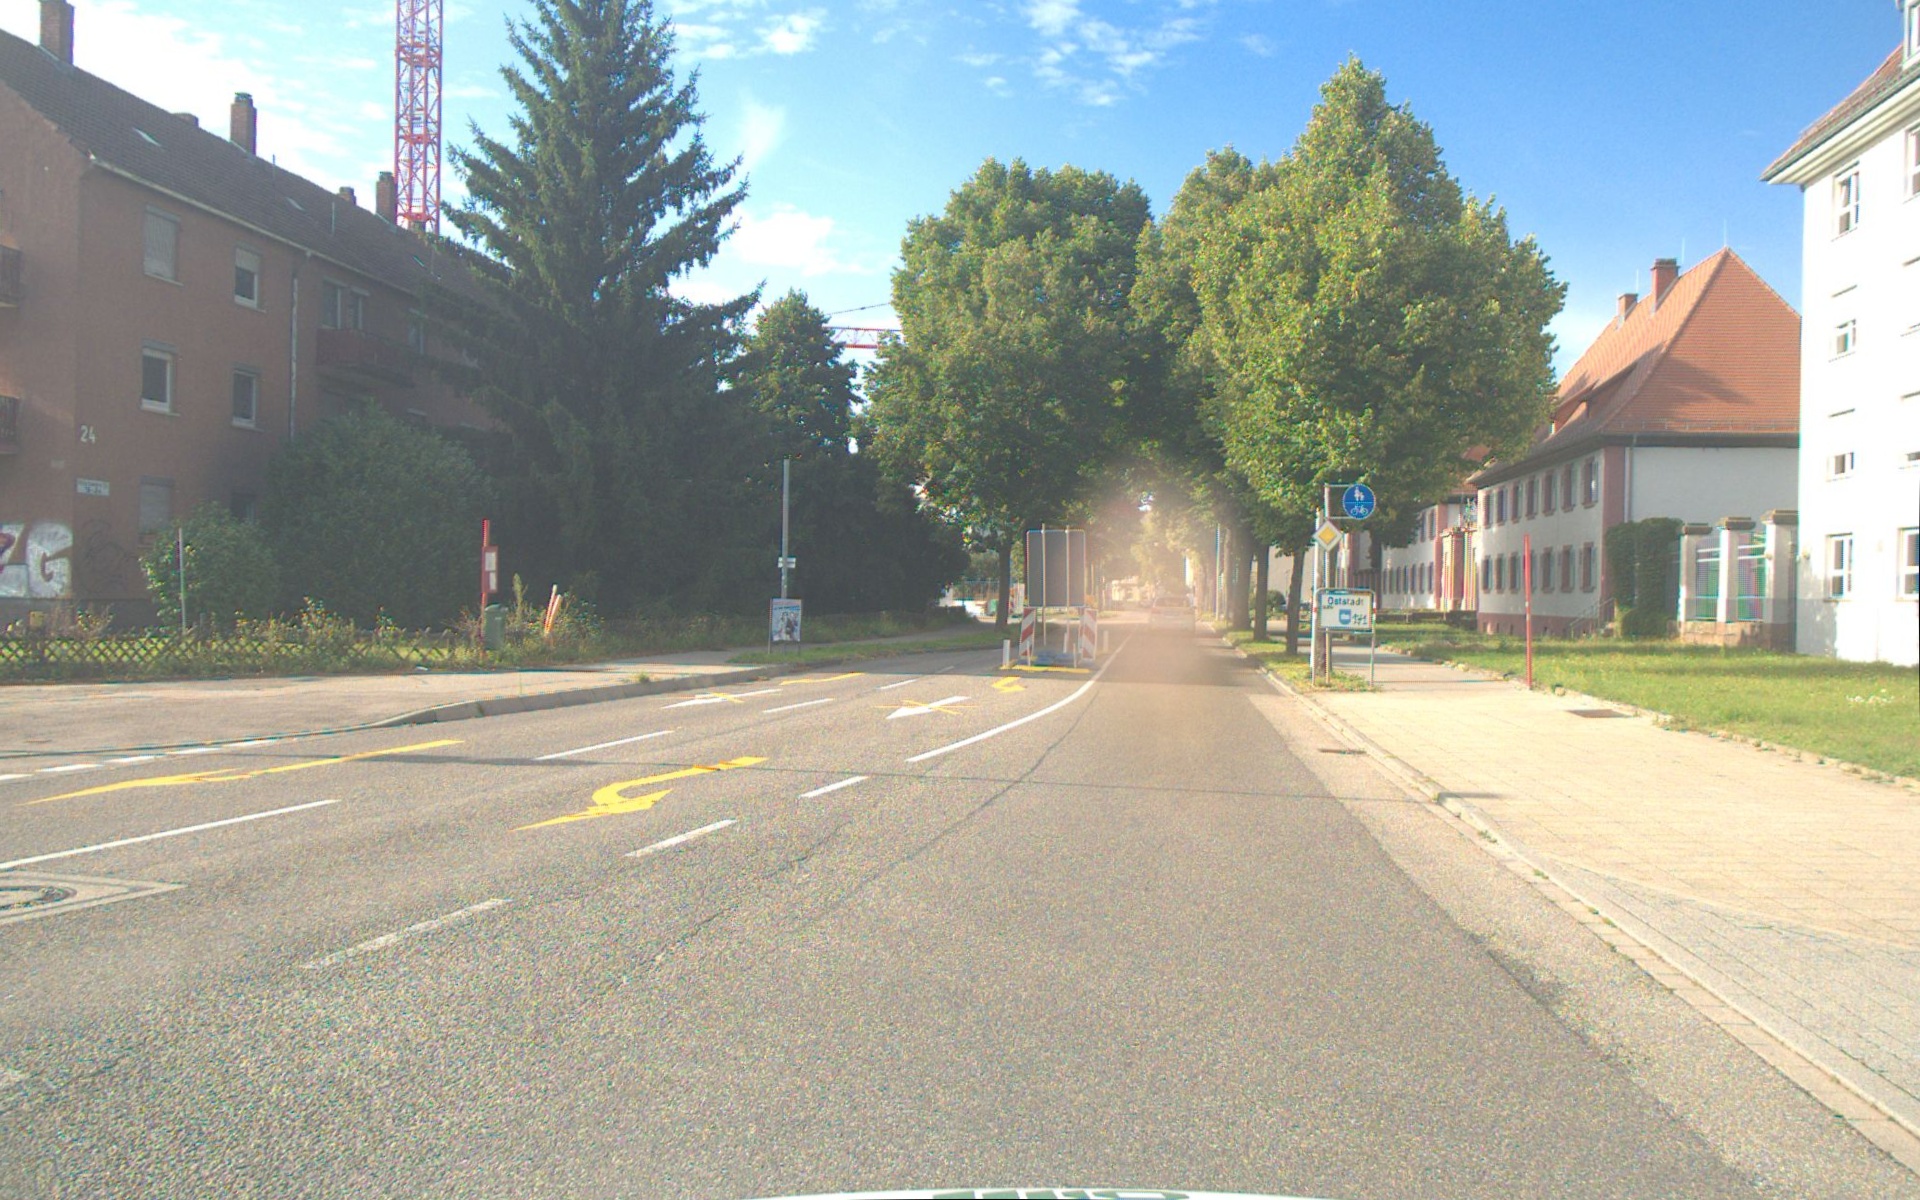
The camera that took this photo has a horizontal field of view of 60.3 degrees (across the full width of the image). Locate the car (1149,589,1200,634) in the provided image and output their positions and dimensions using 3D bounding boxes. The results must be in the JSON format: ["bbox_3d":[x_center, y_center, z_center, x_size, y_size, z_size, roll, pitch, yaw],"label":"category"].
[{"bbox_3d":[8.204,0.456,63.590,1.811,1.600,4.458,2,0,6],"label":"car"}]
